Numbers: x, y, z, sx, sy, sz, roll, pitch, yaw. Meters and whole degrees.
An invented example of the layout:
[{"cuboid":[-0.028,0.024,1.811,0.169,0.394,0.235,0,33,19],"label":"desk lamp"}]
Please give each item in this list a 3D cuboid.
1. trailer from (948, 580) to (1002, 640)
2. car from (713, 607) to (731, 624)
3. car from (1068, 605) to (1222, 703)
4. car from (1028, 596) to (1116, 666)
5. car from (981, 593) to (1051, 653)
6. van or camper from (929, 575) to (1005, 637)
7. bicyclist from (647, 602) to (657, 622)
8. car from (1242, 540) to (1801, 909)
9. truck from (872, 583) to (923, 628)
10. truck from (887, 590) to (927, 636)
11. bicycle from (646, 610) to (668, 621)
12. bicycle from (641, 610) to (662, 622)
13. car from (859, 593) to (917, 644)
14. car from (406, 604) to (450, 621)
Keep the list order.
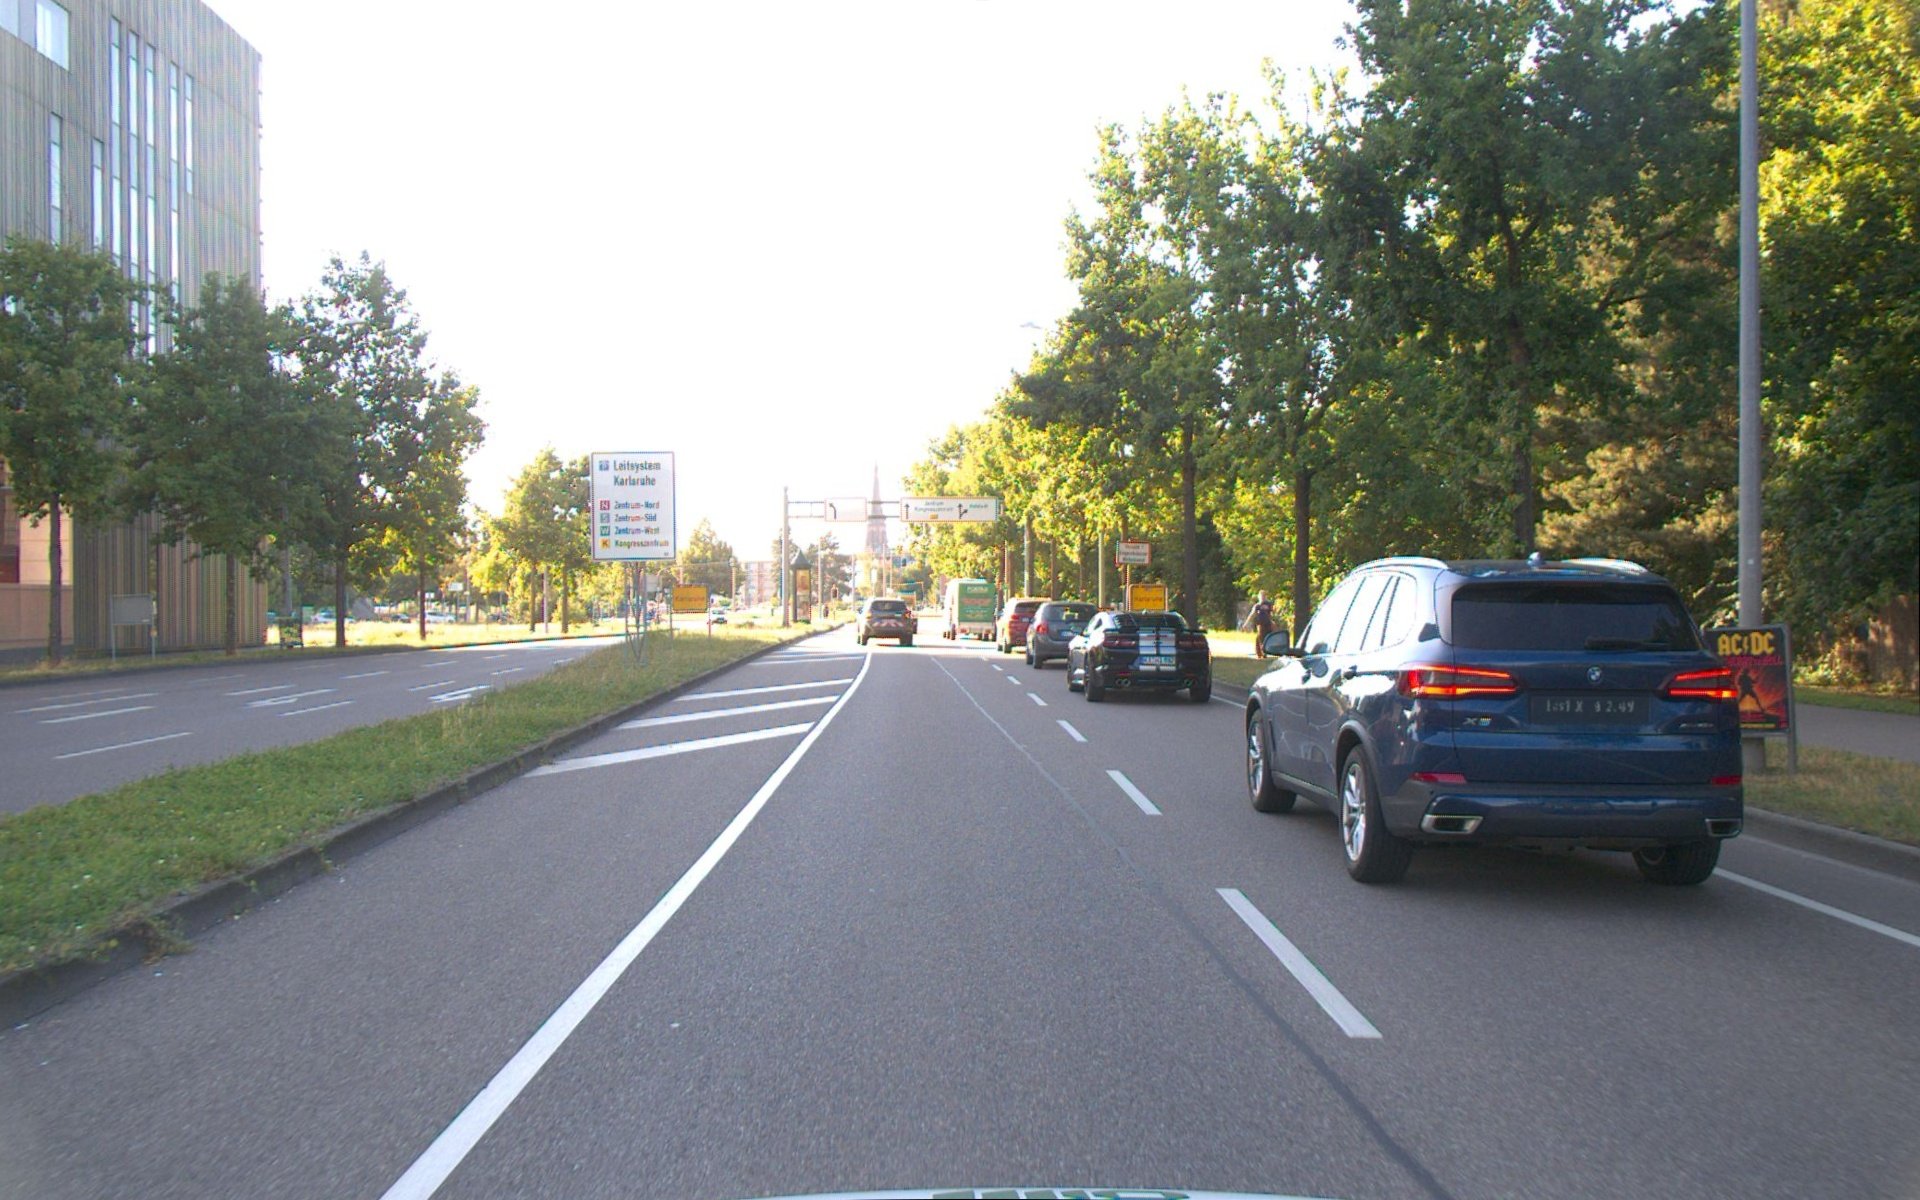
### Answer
[{"cuboid":[0.612,0.430,70.248,2.048,2.442,3.499,1,0,-3],"label":"trailer"},{"cuboid":[-22.598,1.484,157.375,1.532,1.602,3.408,-1,0,-6],"label":"car"},{"cuboid":[2.806,0.782,26.001,1.816,1.361,4.624,0,0,-1],"label":"car"},{"cuboid":[2.495,0.664,37.655,1.711,1.499,3.819,-1,0,0],"label":"car"},{"cuboid":[1.616,0.644,49.042,1.712,1.649,3.817,2,0,-3],"label":"car"},{"cuboid":[0.244,0.245,75.708,2.244,2.675,6.565,1,0,-11],"label":"van or camper"},{"cuboid":[-28.069,1.097,150.737,0.795,1.801,0.497,1,0,12],"label":"bicyclist"},{"cuboid":[3.110,0.622,10.318,1.915,1.757,4.699,1,-1,0],"label":"car"},{"cuboid":[-3.834,0.332,100.473,2.531,2.602,6.241,-1,0,-7],"label":"truck"},{"cuboid":[-3.237,0.763,100.038,2.176,2.697,4.769,0,0,-4],"label":"truck"},{"cuboid":[-27.831,1.414,152.036,1.868,1.037,0.504,1,-1,4],"label":"bicycle"},{"cuboid":[-28.115,1.478,150.743,1.867,1.037,0.505,0,-1,12],"label":"bicycle"},{"cuboid":[-2.549,0.642,57.850,1.868,1.689,3.996,-1,0,-5],"label":"car"},{"cuboid":[-51.836,1.195,161.131,1.844,1.534,3.683,-1,0,44],"label":"car"}]
